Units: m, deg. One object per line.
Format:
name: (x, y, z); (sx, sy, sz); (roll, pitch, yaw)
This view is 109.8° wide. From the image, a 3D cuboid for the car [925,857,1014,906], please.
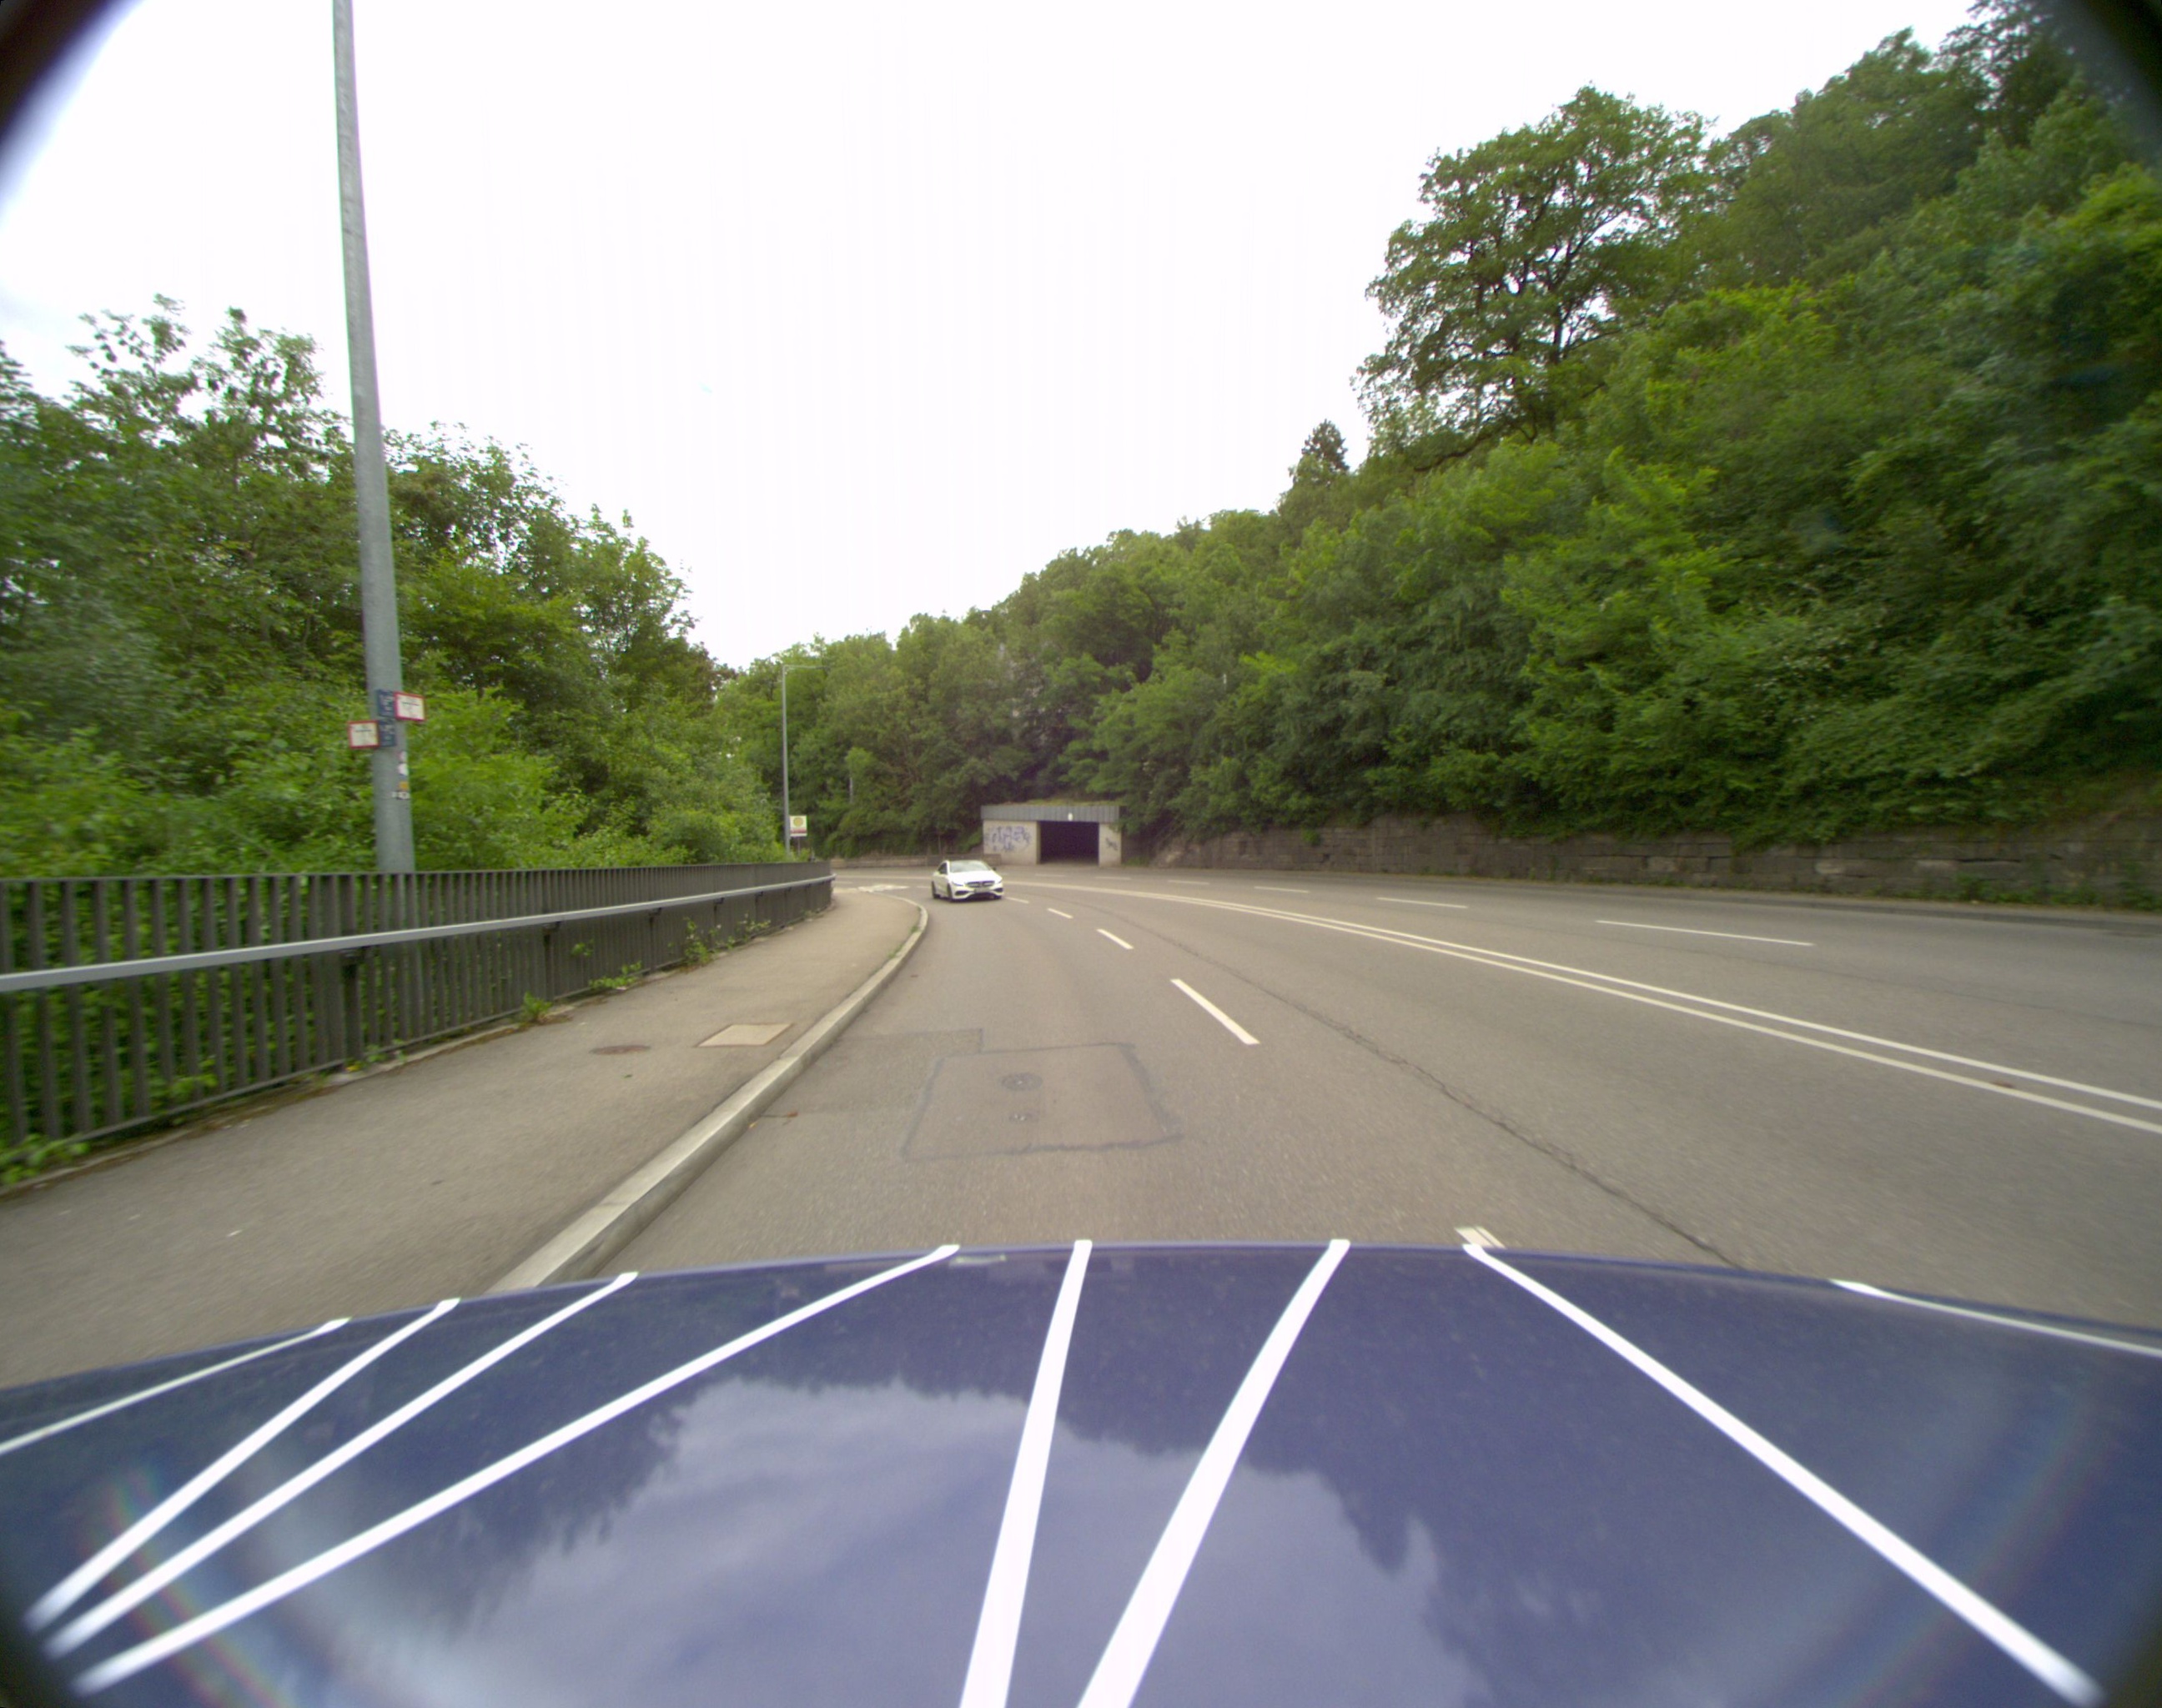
car: (-4.048, 0.892, 26.885); (1.906, 1.419, 4.256); (-5, 2, -24)
